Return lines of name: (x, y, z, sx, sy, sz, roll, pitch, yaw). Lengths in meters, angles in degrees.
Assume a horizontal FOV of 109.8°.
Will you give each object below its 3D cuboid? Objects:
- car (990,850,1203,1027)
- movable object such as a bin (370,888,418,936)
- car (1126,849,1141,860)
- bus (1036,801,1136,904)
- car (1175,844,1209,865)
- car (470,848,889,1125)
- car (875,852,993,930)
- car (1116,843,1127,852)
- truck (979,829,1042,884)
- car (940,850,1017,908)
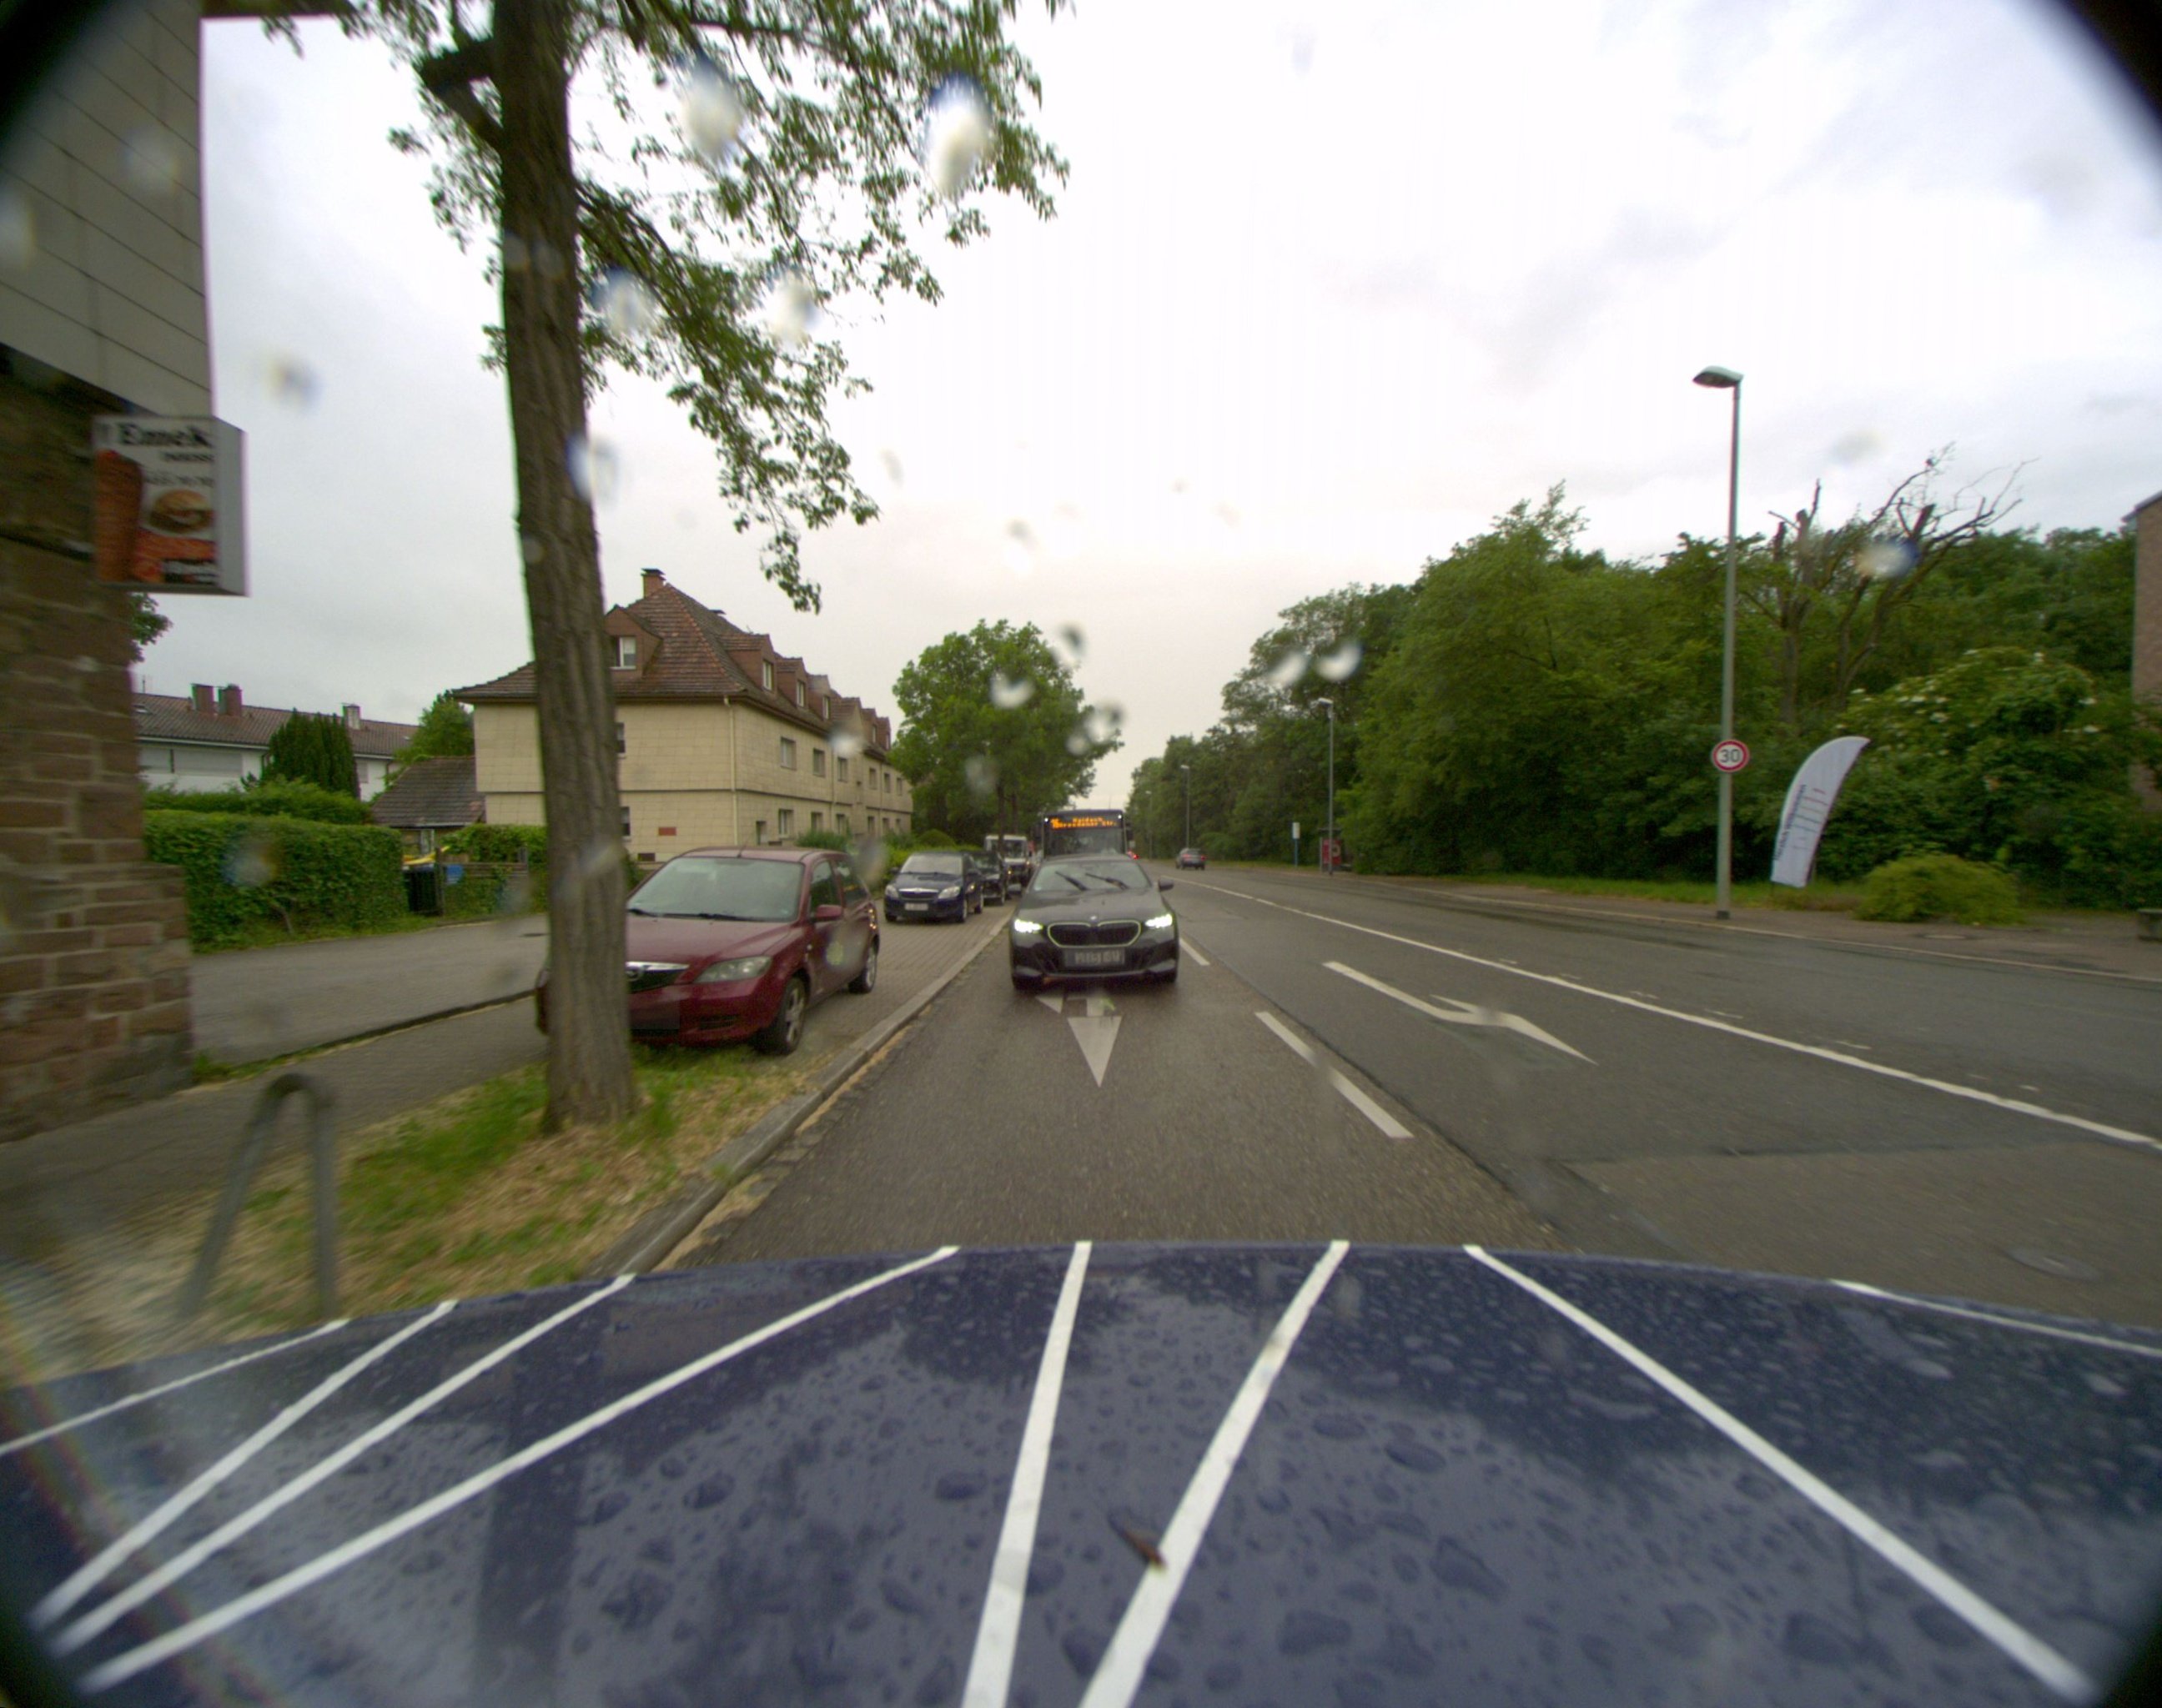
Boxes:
car: (0.170, 0.772, 9.176, 1.882, 1.520, 4.316, -3, 1, 1)
movable object such as a bin: (-14.245, 1.193, 15.766, 0.540, 0.937, 0.448, -3, 2, -4)
car: (8.000, 0.045, 116.428, 1.915, 1.445, 4.947, 3, 1, -1)
bus: (0.280, -0.137, 26.595, 2.767, 2.858, 9.402, -2, 1, 2)
car: (8.841, 0.036, 60.682, 1.913, 1.581, 4.316, 0, 1, -2)
car: (-2.902, 0.795, 6.512, 1.614, 1.495, 3.754, -3, 3, -2)
car: (-3.063, 0.706, 16.624, 1.720, 1.416, 3.999, 1, 1, 1)
car: (6.730, -1.041, 127.032, 1.598, 1.420, 3.904, 0, 1, -1)
truck: (-2.936, 0.081, 32.896, 1.998, 2.184, 5.755, 0, 0, 2)
car: (-2.858, 0.641, 21.904, 1.720, 1.456, 3.999, 1, 1, -1)
